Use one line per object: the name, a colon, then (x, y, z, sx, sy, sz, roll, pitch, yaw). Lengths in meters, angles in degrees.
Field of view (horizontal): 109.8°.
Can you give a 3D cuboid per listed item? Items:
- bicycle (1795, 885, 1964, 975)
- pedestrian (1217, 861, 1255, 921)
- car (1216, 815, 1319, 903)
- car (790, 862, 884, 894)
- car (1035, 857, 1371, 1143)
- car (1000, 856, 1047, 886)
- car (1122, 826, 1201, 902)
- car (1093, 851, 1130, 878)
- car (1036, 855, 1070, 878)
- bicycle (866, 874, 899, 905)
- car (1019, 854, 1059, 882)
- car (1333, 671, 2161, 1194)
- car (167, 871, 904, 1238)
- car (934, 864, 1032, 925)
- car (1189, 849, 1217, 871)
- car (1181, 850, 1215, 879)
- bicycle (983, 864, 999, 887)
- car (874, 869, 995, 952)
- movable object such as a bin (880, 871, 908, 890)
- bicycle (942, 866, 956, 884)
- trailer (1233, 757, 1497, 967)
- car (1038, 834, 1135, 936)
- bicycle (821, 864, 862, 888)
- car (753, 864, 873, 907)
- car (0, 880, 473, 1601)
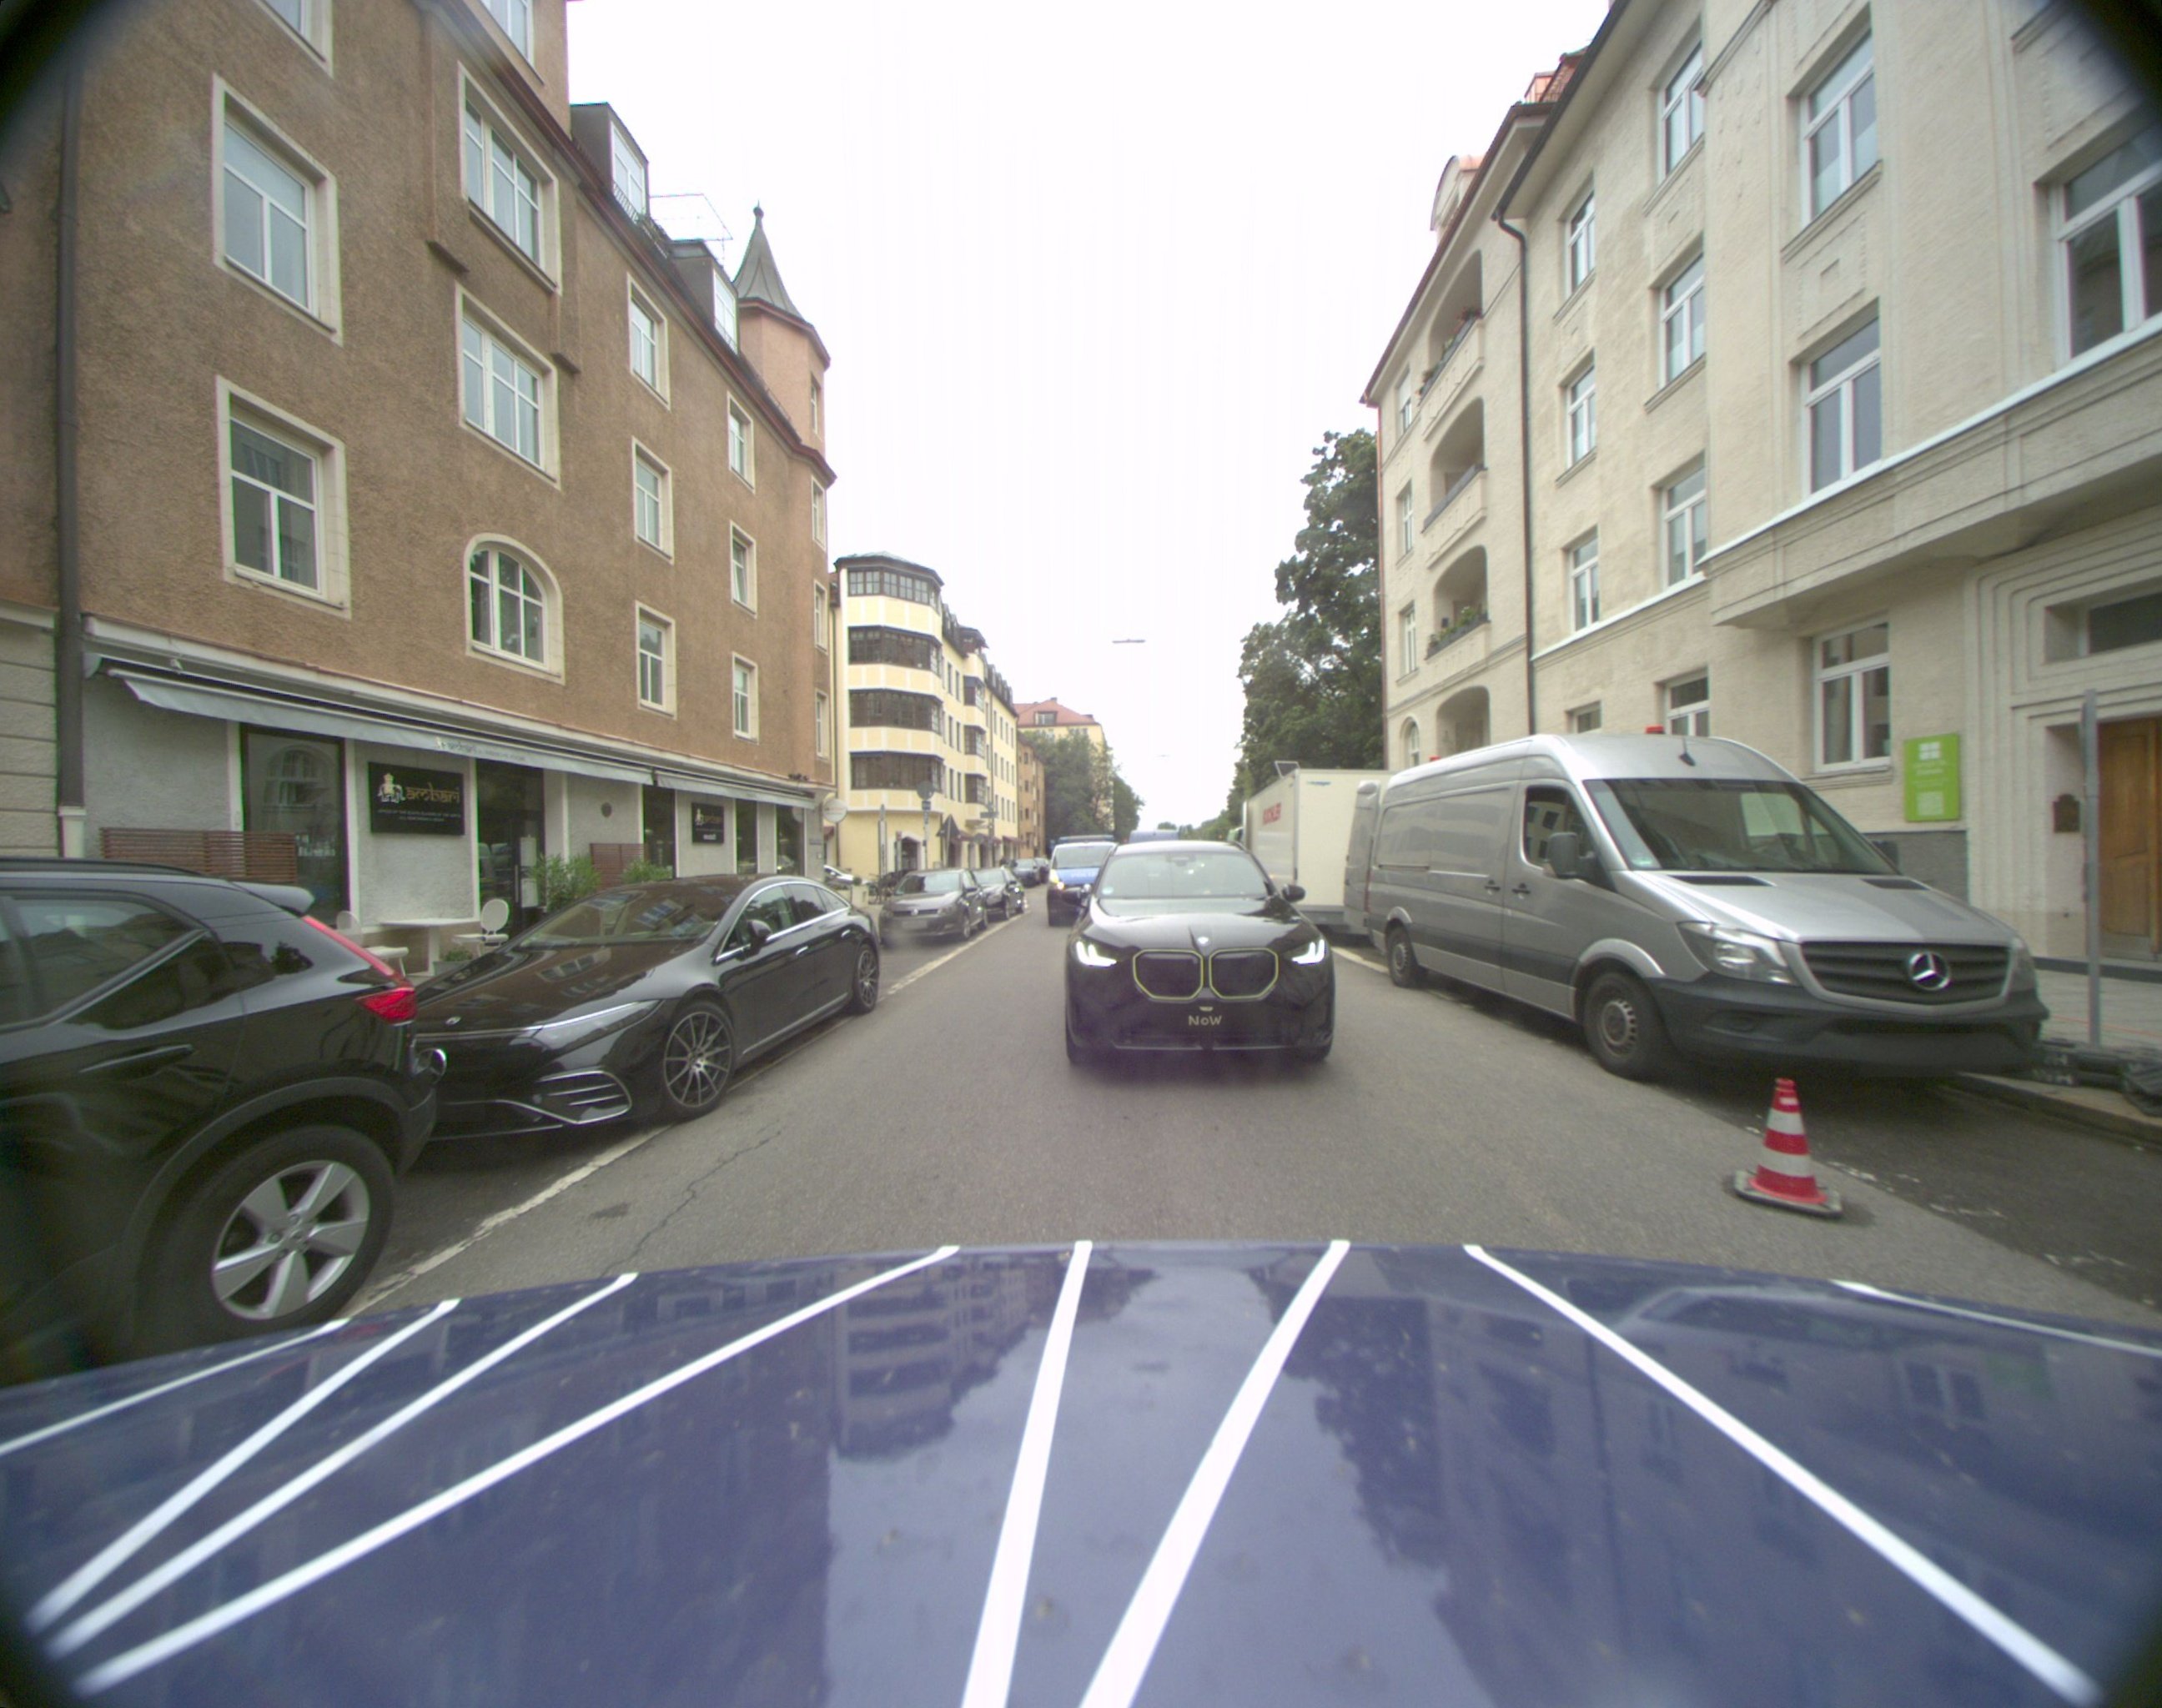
bicycle: (9.901, 0.899, 9.515, 0.416, 0.909, 1.757, -4, 0, 8)
pedestrian: (4.144, 0.976, 20.344, 0.764, 1.571, 0.636, -1, 1, -14)
car: (6.080, 0.146, 25.700, 2.146, 2.557, 6.796, -1, 0, 3)
car: (-11.312, 1.146, 35.376, 3.741, 1.431, 1.753, -1, -2, 7)
car: (0.867, 0.858, 6.553, 1.920, 1.556, 4.294, -1, 1, 4)
car: (-3.343, 0.943, 44.795, 2.111, 1.613, 4.497, -1, 0, 4)
car: (3.123, 0.268, 28.083, 2.003, 2.477, 6.238, -1, 1, 14)
car: (1.940, 0.630, 47.221, 1.997, 1.587, 4.002, 0, 1, 6)
car: (-1.988, 0.878, 55.086, 1.763, 1.514, 3.934, 1, 1, 8)
bicycle: (-6.979, 1.235, 26.769, 0.496, 0.999, 1.804, 1, -1, 6)
car: (-2.726, 0.866, 50.009, 1.817, 1.580, 4.165, 3, 1, 7)
car: (4.531, 0.387, 7.317, 2.060, 2.572, 6.877, 3, 0, 2)
car: (-3.226, 1.010, 6.380, 1.935, 1.544, 5.637, -2, 0, 2)
car: (-2.611, 1.044, 21.371, 1.851, 1.397, 4.789, -2, 0, 3)
car: (8.948, 0.388, 55.886, 1.816, 1.455, 4.166, 3, 1, 8)
car: (7.097, 0.601, 46.417, 1.816, 1.580, 4.166, 3, 1, 7)
bicycle: (-4.833, 1.121, 40.819, 0.430, 1.152, 2.053, 0, 1, 5)
car: (-2.924, 1.076, 16.003, 1.576, 1.386, 4.182, -1, 1, 2)
movable object such as a bin: (-9.092, 1.302, 36.990, 1.125, 0.895, 0.684, -1, 1, 4)
bicycle: (-7.480, 1.184, 43.090, 0.262, 0.897, 1.696, 3, 1, 5)
trailer: (4.855, 0.134, 14.809, 2.809, 2.951, 7.603, 2, 0, 5)
car: (0.312, 0.648, 18.941, 1.826, 2.086, 5.635, -3, 0, 6)
bicycle: (-12.231, 1.142, 38.827, 1.904, 1.180, 0.515, -1, 1, 4)
car: (-10.222, 1.185, 29.200, 3.881, 1.479, 1.893, -1, 1, 4)
car: (-3.526, 1.003, 0.940, 1.697, 1.666, 4.409, -4, 0, 4)
